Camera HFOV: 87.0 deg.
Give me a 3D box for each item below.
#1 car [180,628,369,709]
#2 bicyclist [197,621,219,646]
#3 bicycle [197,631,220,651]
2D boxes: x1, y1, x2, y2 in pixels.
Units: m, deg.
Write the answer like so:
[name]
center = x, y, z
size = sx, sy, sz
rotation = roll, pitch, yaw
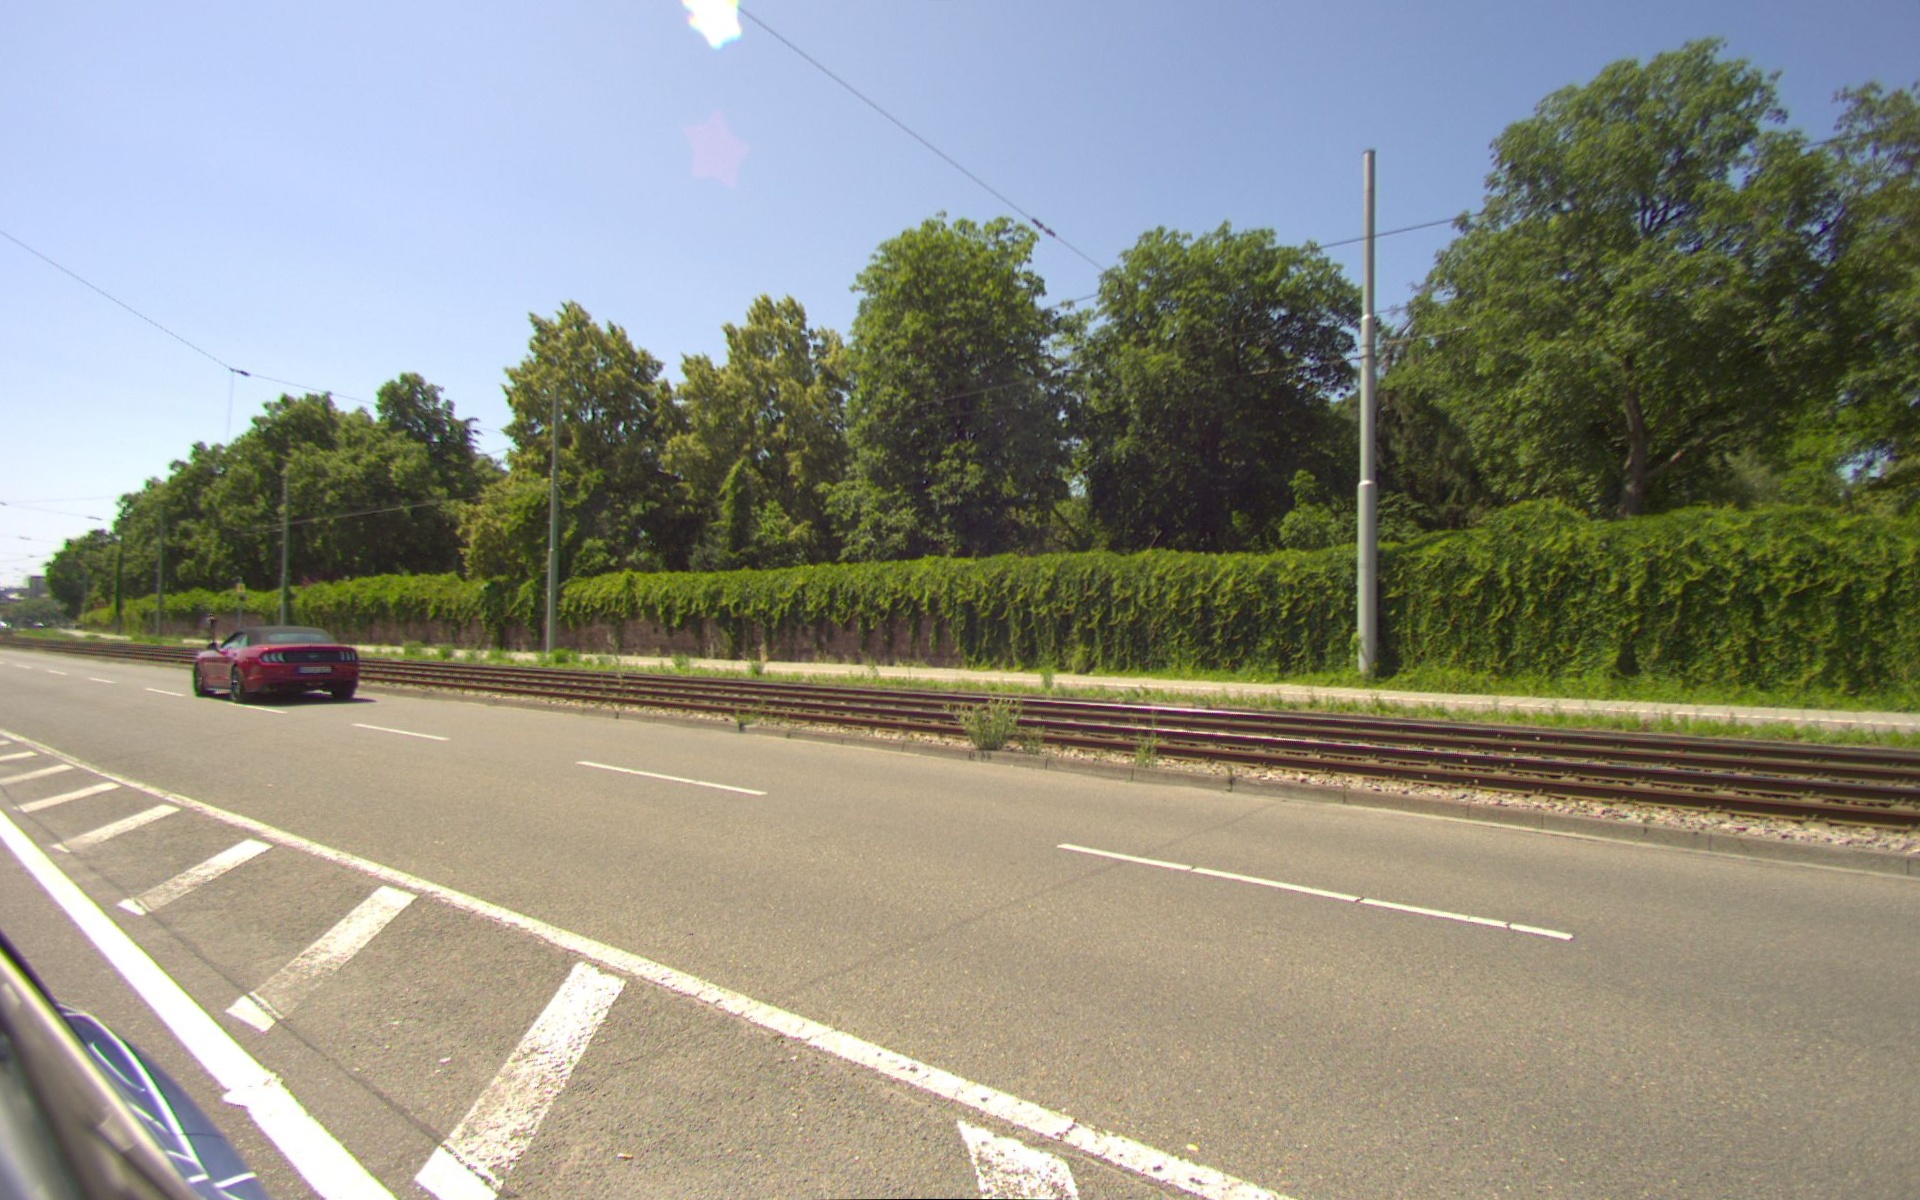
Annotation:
[car]
center = -13.306, 1.228, 19.542
size = 4.537, 1.369, 1.963
rotation = -1, -2, 42
[bicyclist]
center = -45.464, 2.000, 61.190
size = 0.983, 1.497, 1.001
rotation = 1, -2, -44
[bicycle]
center = -45.508, 2.451, 61.247
size = 0.818, 1.165, 2.688
rotation = 1, -2, -43
